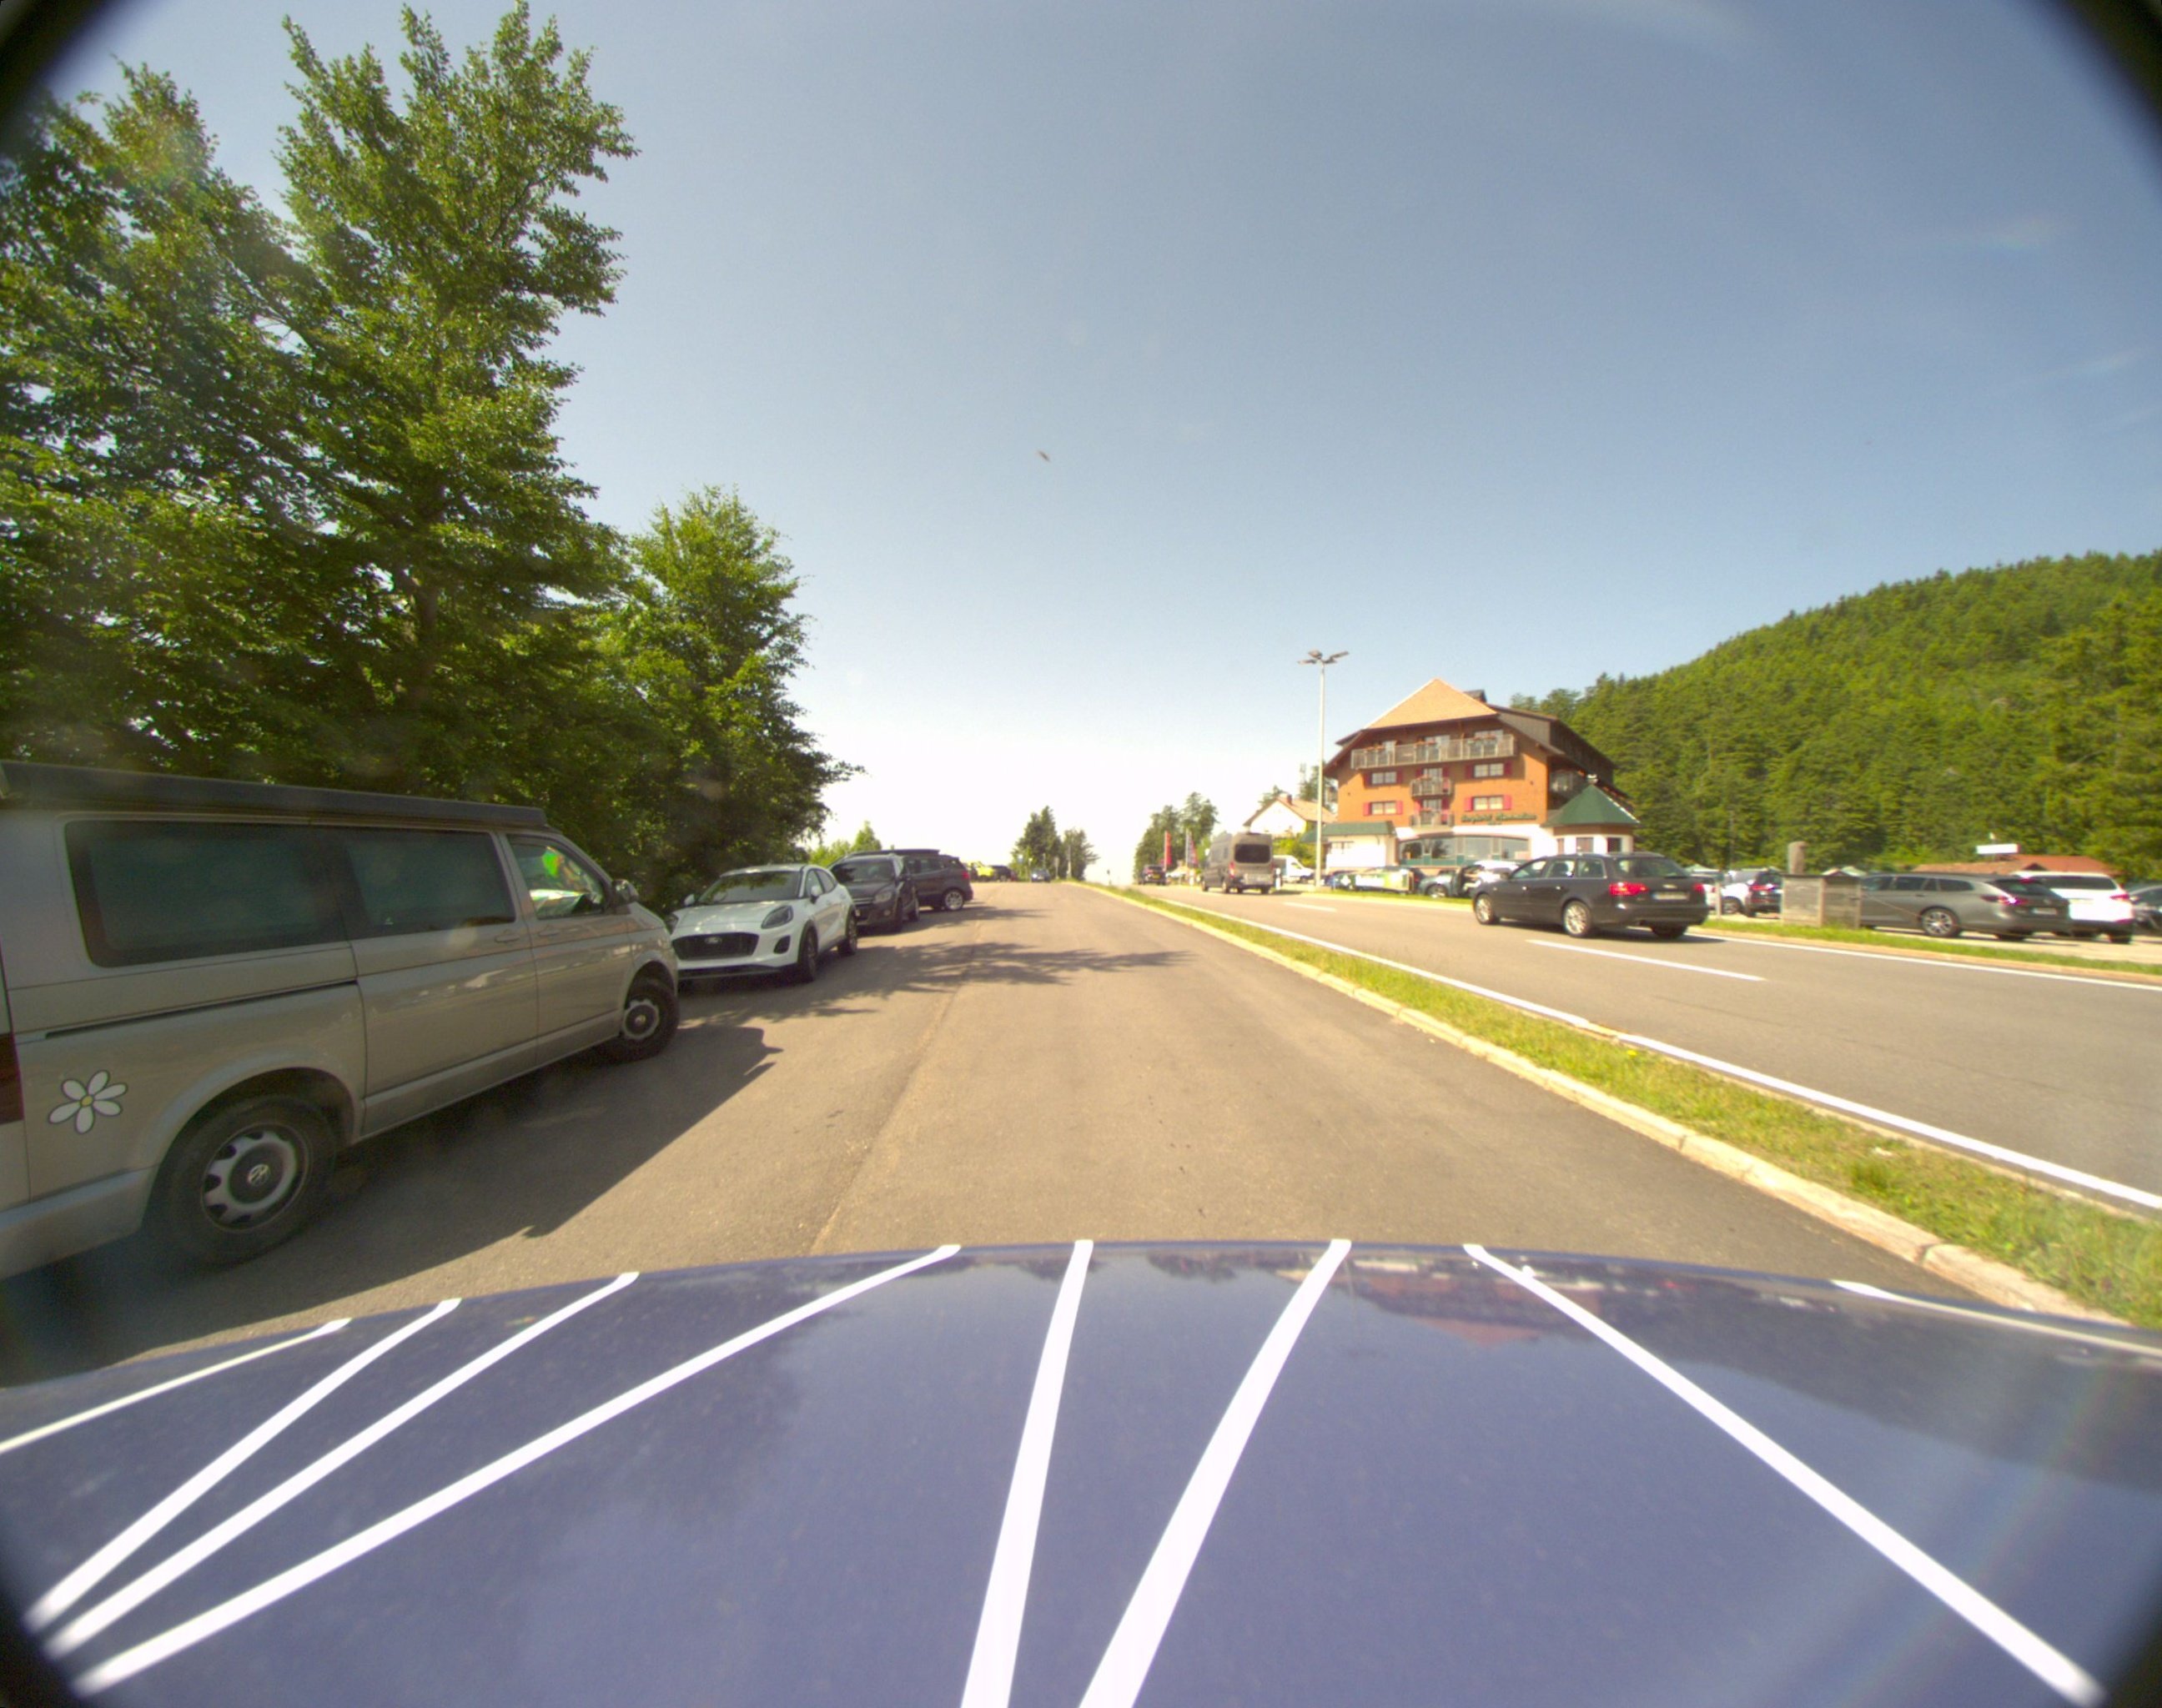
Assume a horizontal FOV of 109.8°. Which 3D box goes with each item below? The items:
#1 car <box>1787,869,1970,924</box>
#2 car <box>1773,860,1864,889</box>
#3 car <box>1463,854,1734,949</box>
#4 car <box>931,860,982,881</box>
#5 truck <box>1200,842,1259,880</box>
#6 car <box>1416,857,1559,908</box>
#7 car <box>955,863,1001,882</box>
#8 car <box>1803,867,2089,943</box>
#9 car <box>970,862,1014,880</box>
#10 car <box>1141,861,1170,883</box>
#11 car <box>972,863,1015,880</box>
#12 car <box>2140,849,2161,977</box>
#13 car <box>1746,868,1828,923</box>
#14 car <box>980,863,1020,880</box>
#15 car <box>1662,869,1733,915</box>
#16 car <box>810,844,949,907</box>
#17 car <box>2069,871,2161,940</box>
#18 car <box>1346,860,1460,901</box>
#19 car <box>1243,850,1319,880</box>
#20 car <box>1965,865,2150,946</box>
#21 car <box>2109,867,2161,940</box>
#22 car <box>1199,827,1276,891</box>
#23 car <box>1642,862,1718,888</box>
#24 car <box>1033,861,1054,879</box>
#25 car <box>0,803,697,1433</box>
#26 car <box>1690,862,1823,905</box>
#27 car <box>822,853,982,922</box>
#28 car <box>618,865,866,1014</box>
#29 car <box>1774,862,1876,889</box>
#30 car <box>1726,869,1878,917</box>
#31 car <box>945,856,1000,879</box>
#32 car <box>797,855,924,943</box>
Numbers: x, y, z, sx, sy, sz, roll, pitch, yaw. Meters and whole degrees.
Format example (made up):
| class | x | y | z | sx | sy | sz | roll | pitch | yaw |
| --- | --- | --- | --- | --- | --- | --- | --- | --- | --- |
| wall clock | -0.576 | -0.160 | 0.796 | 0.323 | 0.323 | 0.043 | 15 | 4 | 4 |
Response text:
| class | x | y | z | sx | sy | sz | roll | pitch | yaw |
| --- | --- | --- | --- | --- | --- | --- | --- | --- | --- |
| car | 27.144 | 1.389 | 26.081 | 4.082 | 1.619 | 1.828 | 1 | 0 | 39 |
| car | 47.956 | 1.309 | 49.516 | 4.082 | 1.705 | 1.925 | 1 | 0 | 40 |
| car | 8.945 | 0.724 | 13.706 | 1.711 | 1.429 | 4.449 | 1 | 0 | -2 |
| car | -10.120 | 1.353 | 62.017 | 3.911 | 1.605 | 1.876 | 1 | 0 | -2 |
| truck | 15.850 | 0.771 | 80.592 | 2.876 | 3.798 | 9.036 | -2 | -1 | 34 |
| car | 14.544 | 0.968 | 27.292 | 4.258 | 1.619 | 1.828 | 1 | 0 | 39 |
| car | -9.212 | 1.628 | 68.025 | 3.911 | 1.605 | 1.876 | 1 | 0 | -2 |
| car | 19.203 | 1.056 | 17.182 | 1.722 | 1.422 | 3.998 | 1 | 0 | -5 |
| car | -8.252 | 1.562 | 70.932 | 3.911 | 1.605 | 1.876 | 1 | 0 | -2 |
| car | 6.076 | 1.464 | 62.358 | 1.721 | 1.672 | 4.129 | 0 | 0 | -4 |
| car | -8.441 | 1.670 | 73.535 | 3.911 | 1.605 | 1.876 | 1 | 0 | -2 |
| car | 15.458 | 0.780 | 8.093 | 4.538 | 1.646 | 1.726 | 1 | 0 | 37 |
| car | 23.108 | 1.291 | 24.979 | 1.818 | 1.619 | 4.104 | 1 | 0 | 41 |
| car | -8.277 | 1.800 | 77.606 | 3.911 | 1.605 | 1.876 | 1 | 0 | -2 |
| car | 22.664 | 1.327 | 27.869 | 1.818 | 1.504 | 4.104 | 1 | 0 | 41 |
| car | -7.171 | 0.732 | 27.075 | 4.465 | 1.914 | 1.873 | -3 | 0 | -24 |
| car | 28.856 | 1.352 | 19.369 | 4.082 | 1.705 | 1.925 | 1 | 0 | 37 |
| car | 14.242 | 1.130 | 33.713 | 4.258 | 1.619 | 1.828 | 1 | 0 | 39 |
| car | 19.283 | 1.070 | 73.533 | 6.952 | 2.774 | 2.670 | 1 | 0 | 15 |
| car | 23.763 | 1.152 | 18.699 | 1.914 | 1.705 | 4.104 | 1 | 0 | 40 |
| car | 27.222 | 1.197 | 17.342 | 4.082 | 1.705 | 1.925 | 1 | 0 | 40 |
| car | 7.131 | 0.229 | 35.338 | 2.017 | 2.735 | 5.915 | 1 | 0 | -4 |
| car | 42.000 | 1.447 | 53.284 | 4.082 | 1.705 | 1.925 | 1 | 0 | 40 |
| car | -3.530 | 1.530 | 71.836 | 1.876 | 1.605 | 3.911 | 1 | 0 | -4 |
| car | -4.305 | 0.857 | 4.319 | 1.862 | 1.924 | 4.608 | -3 | 0 | -1 |
| car | 28.369 | 1.211 | 32.123 | 4.082 | 1.619 | 1.828 | 1 | 0 | 39 |
| car | -5.031 | 0.887 | 21.334 | 4.004 | 1.609 | 1.873 | -3 | 0 | -24 |
| car | -4.407 | 0.994 | 10.638 | 1.876 | 1.538 | 3.998 | -3 | 0 | -5 |
| car | 51.039 | 1.462 | 52.262 | 4.831 | 1.705 | 1.925 | 1 | 0 | 40 |
| car | 27.503 | 1.445 | 29.194 | 4.082 | 1.619 | 1.828 | 1 | 0 | 39 |
| car | -9.238 | 1.133 | 64.798 | 4.458 | 1.914 | 1.876 | 1 | 0 | -2 |
| car | -4.728 | 0.886 | 16.874 | 1.876 | 1.609 | 3.998 | -3 | 0 | -5 |
